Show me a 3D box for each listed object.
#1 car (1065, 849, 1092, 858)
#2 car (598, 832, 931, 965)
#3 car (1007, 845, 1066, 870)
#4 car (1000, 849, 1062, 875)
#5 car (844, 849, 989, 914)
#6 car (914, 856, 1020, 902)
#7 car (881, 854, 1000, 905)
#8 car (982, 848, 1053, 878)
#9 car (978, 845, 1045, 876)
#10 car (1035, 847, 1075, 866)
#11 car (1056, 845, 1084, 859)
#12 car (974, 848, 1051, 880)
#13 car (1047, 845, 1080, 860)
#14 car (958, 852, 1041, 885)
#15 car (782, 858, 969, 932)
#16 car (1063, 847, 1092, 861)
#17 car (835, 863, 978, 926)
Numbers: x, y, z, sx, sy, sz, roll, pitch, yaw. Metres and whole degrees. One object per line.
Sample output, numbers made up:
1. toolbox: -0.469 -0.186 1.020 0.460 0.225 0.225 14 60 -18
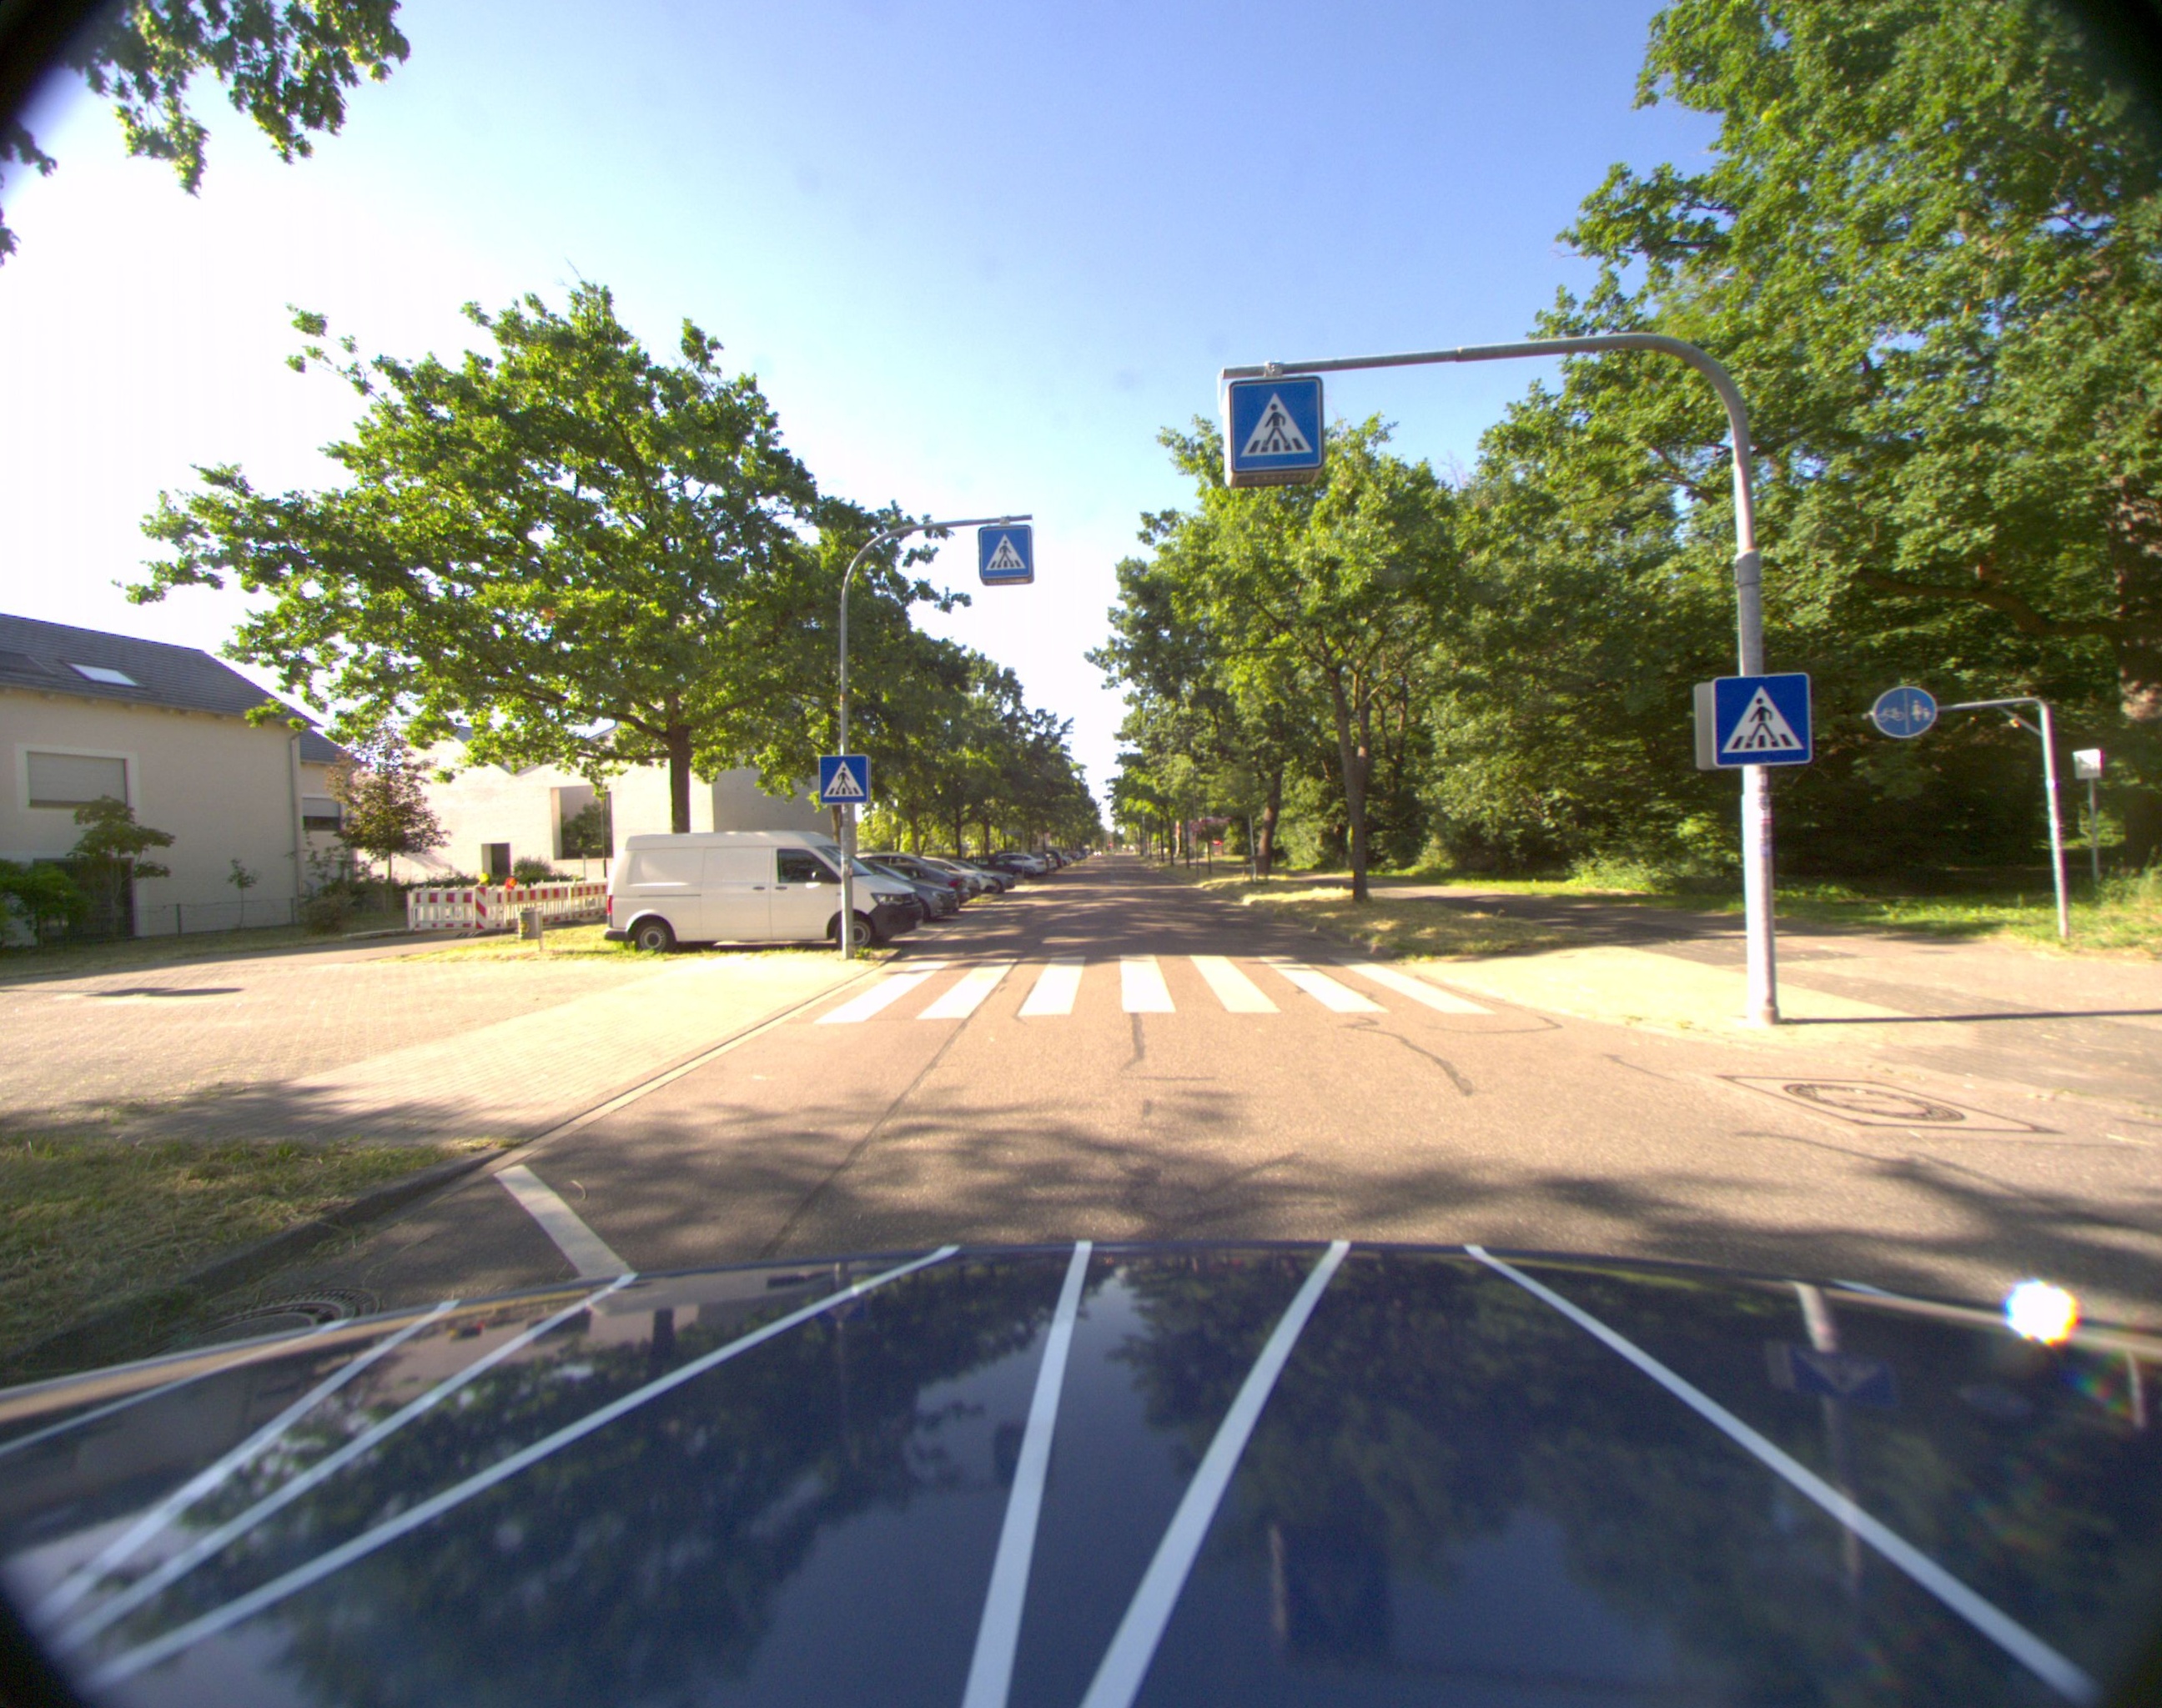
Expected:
1. car: -0.399 -0.082 122.531 4.151 1.401 1.800 -3 1 3
2. car: -5.404 0.732 13.453 5.045 2.069 1.891 -1 1 2
3. car: -3.469 0.238 60.006 4.394 1.733 1.533 -3 1 4
4. car: -3.762 0.587 57.626 4.394 1.733 1.533 -3 1 4
5. car: -5.054 0.819 23.647 4.018 1.783 1.713 -3 1 4
6. car: -4.645 1.020 31.232 4.018 1.650 1.533 -3 1 4
7. car: -5.174 0.928 28.251 4.018 1.669 1.533 -3 1 4
8. car: -4.179 0.573 50.480 4.394 1.733 1.533 -3 1 4
9. car: -4.905 0.440 53.813 4.394 1.977 1.533 -3 1 4
10. car: -2.704 0.258 80.262 3.996 1.838 1.863 -3 1 3
11. car: -1.740 -0.310 117.544 4.151 1.838 1.949 -3 1 3
12. car: -4.134 0.611 46.362 4.394 1.733 1.533 -3 1 4
13. car: -2.341 -0.183 101.215 4.151 1.838 1.949 -3 1 3
14. car: -4.606 0.794 43.348 4.394 1.632 1.533 -3 1 4
15. car: -4.953 0.970 18.645 3.996 1.554 1.758 -3 1 4
16. car: -0.478 0.004 112.445 4.151 1.838 1.949 -3 1 3
17. car: -4.779 1.097 21.088 3.515 1.533 1.448 -3 1 4
